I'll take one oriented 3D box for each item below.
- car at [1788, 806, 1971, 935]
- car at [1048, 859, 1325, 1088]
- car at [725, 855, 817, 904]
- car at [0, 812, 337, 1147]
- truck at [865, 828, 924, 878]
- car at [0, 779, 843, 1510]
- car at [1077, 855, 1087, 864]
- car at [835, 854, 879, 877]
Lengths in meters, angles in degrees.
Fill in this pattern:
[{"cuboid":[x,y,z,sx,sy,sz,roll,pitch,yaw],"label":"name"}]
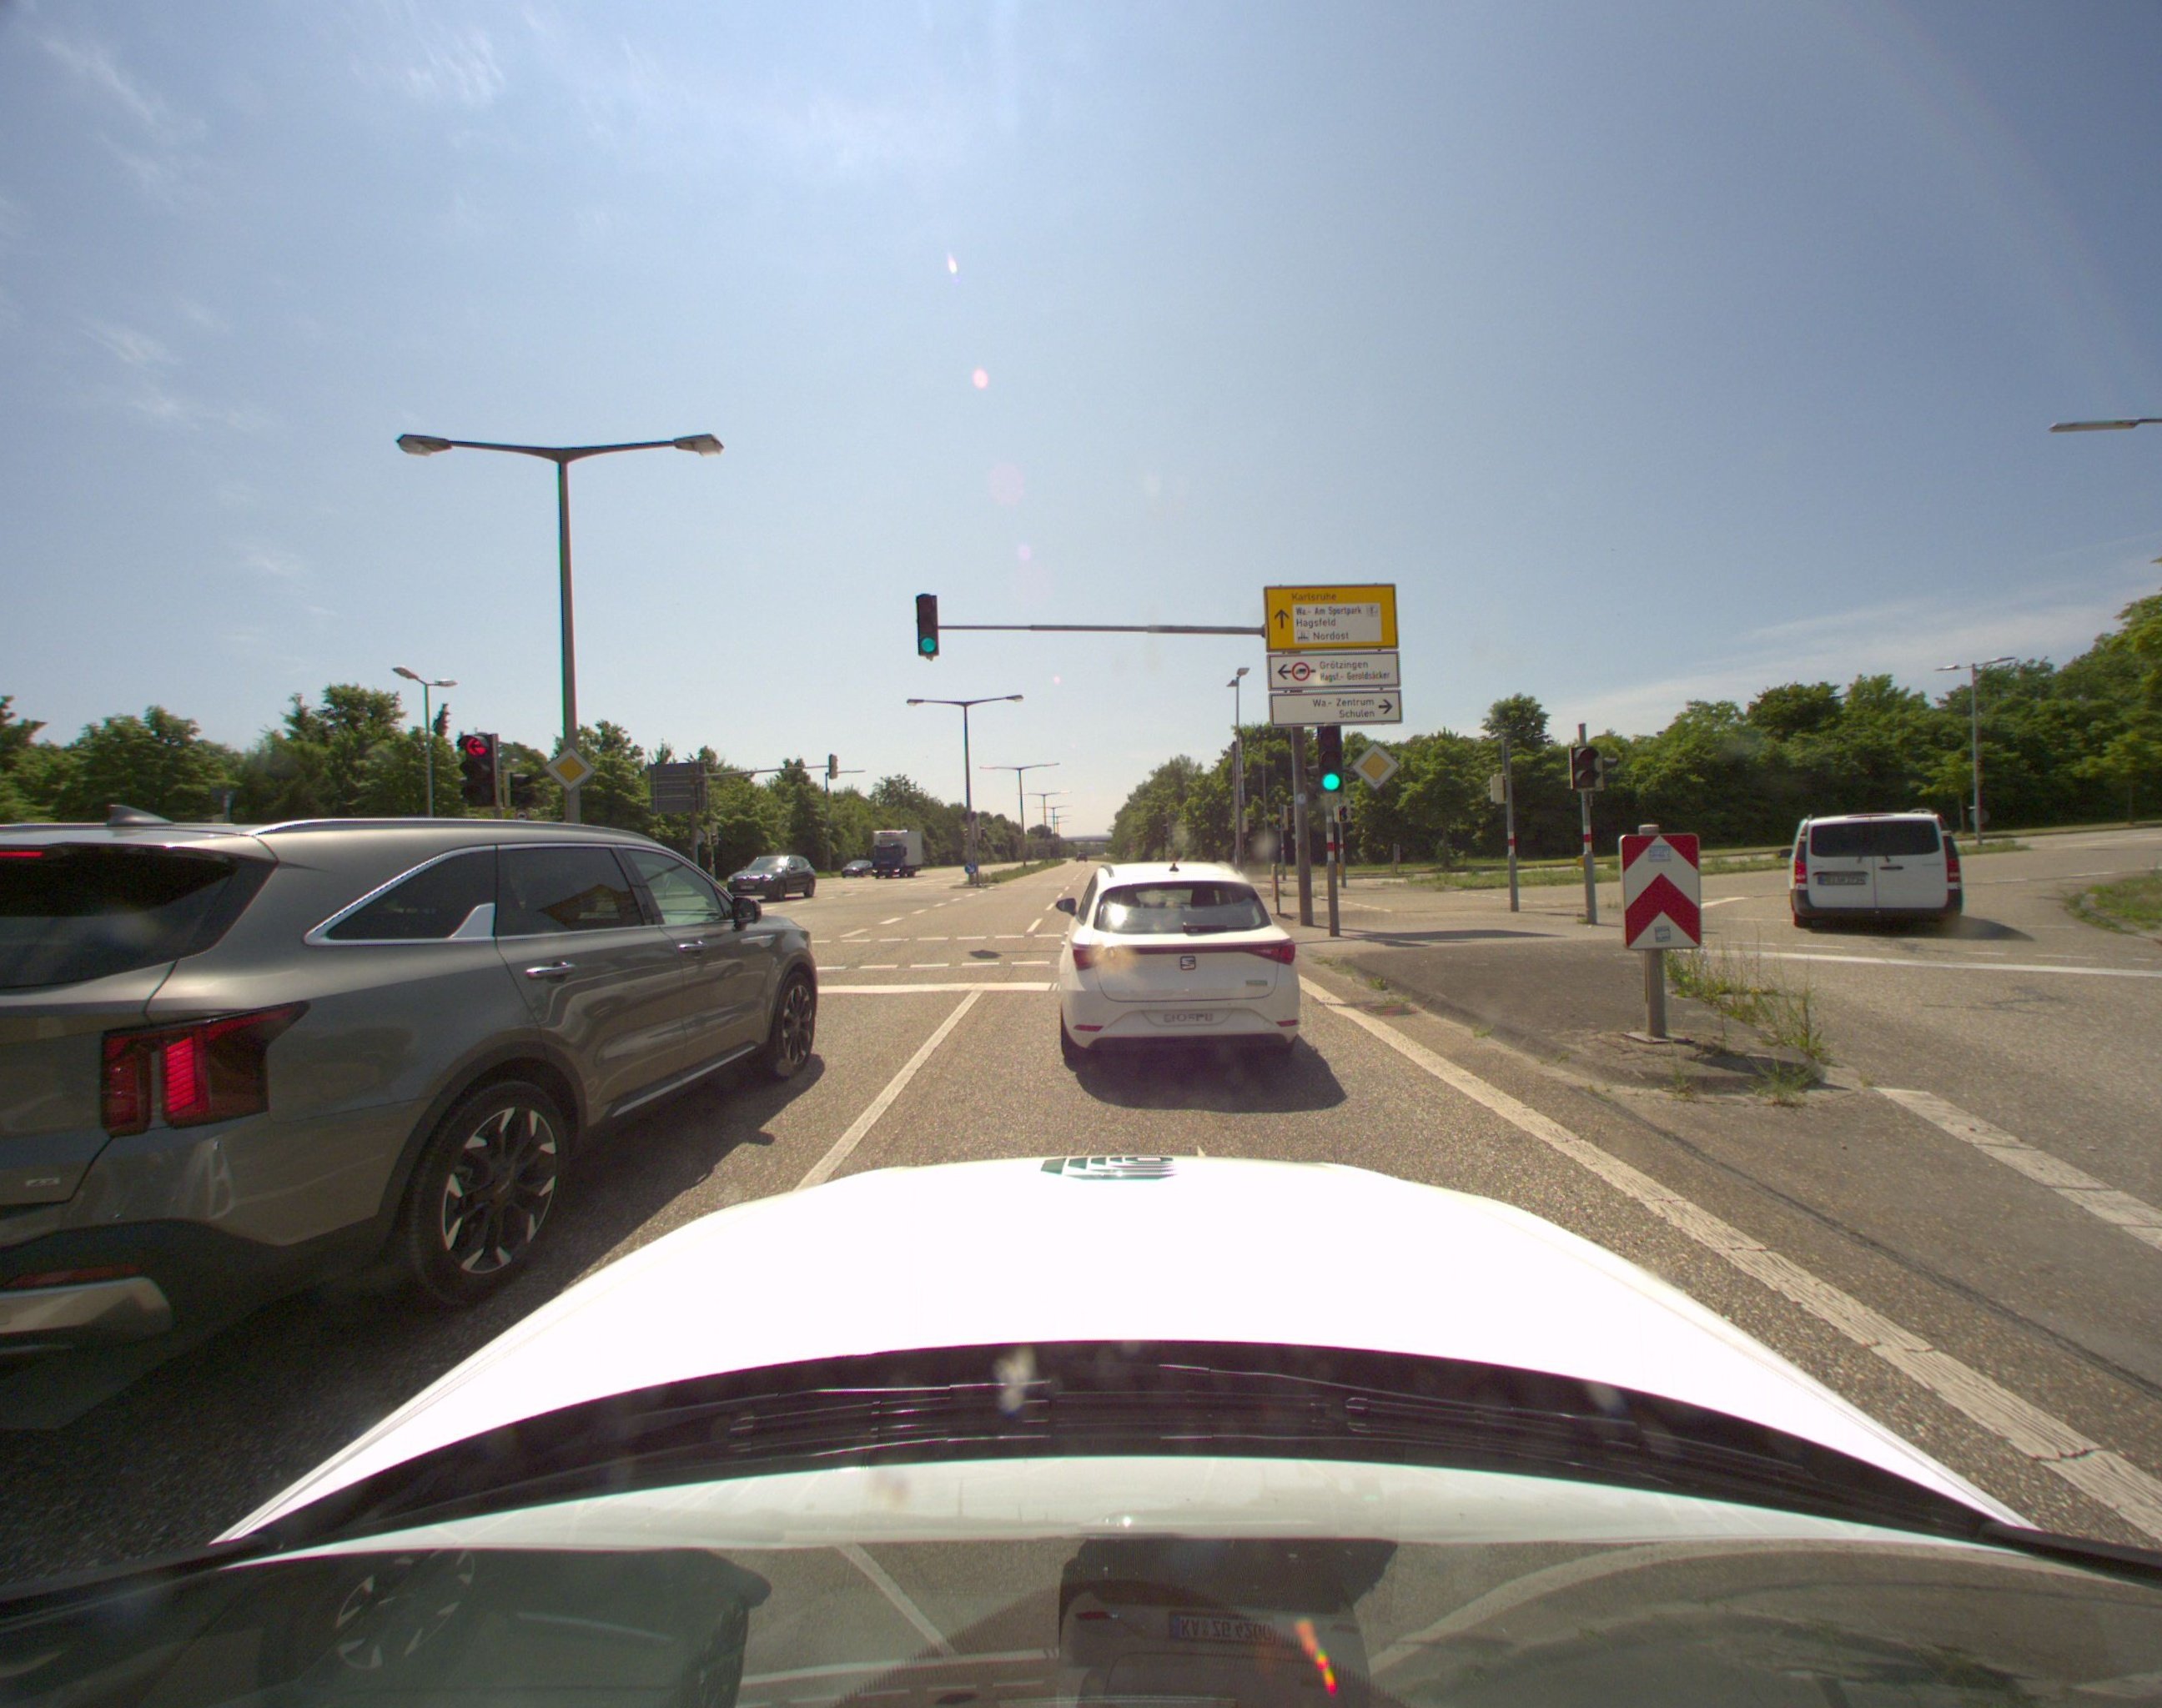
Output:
[{"cuboid":[13.414,0.198,13.961,1.842,1.818,4.939,-2,0,40],"label":"car"},{"cuboid":[0.714,0.770,6.962,1.728,1.428,3.695,0,-1,2],"label":"car"},{"cuboid":[-11.666,0.896,30.963,1.700,1.663,4.225,-2,0,2],"label":"car"},{"cuboid":[-6.783,0.710,4.282,1.726,1.826,4.320,-2,0,0],"label":"car"},{"cuboid":[-14.333,-0.085,63.079,2.678,3.570,7.269,-2,0,1],"label":"truck"},{"cuboid":[-2.897,0.693,4.201,1.797,1.662,4.646,-2,0,2],"label":"car"},{"cuboid":[0.256,1.005,164.420,1.848,1.709,4.000,-3,0,1],"label":"car"},{"cuboid":[-18.288,0.937,66.752,1.814,1.732,4.932,-2,0,5],"label":"car"}]
